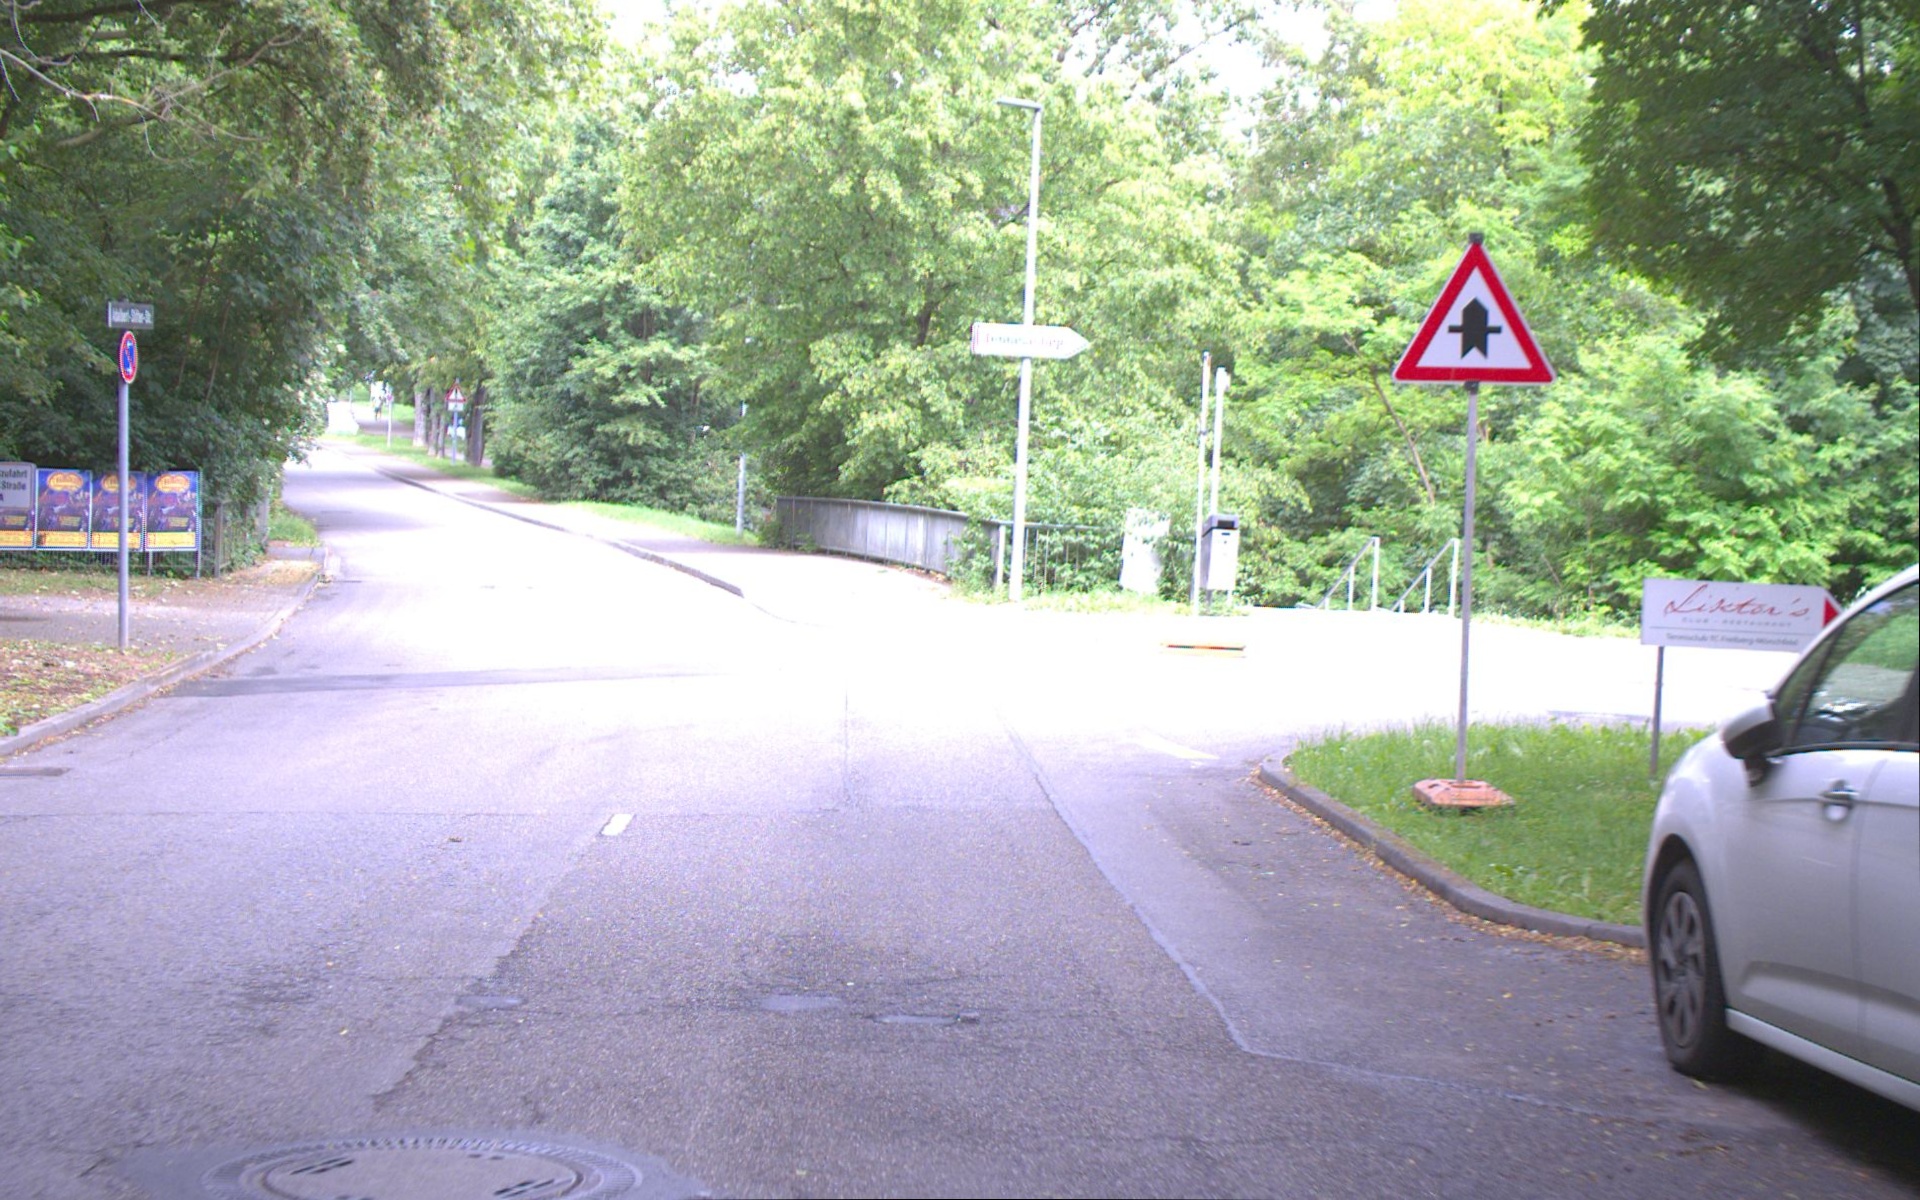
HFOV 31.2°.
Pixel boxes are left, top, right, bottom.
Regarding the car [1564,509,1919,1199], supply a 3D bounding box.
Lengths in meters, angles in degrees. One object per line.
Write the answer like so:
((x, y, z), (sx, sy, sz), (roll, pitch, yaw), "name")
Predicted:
((2.855, 0.588, 8.131), (1.773, 1.517, 3.782), (2, 1, -6), "car")
